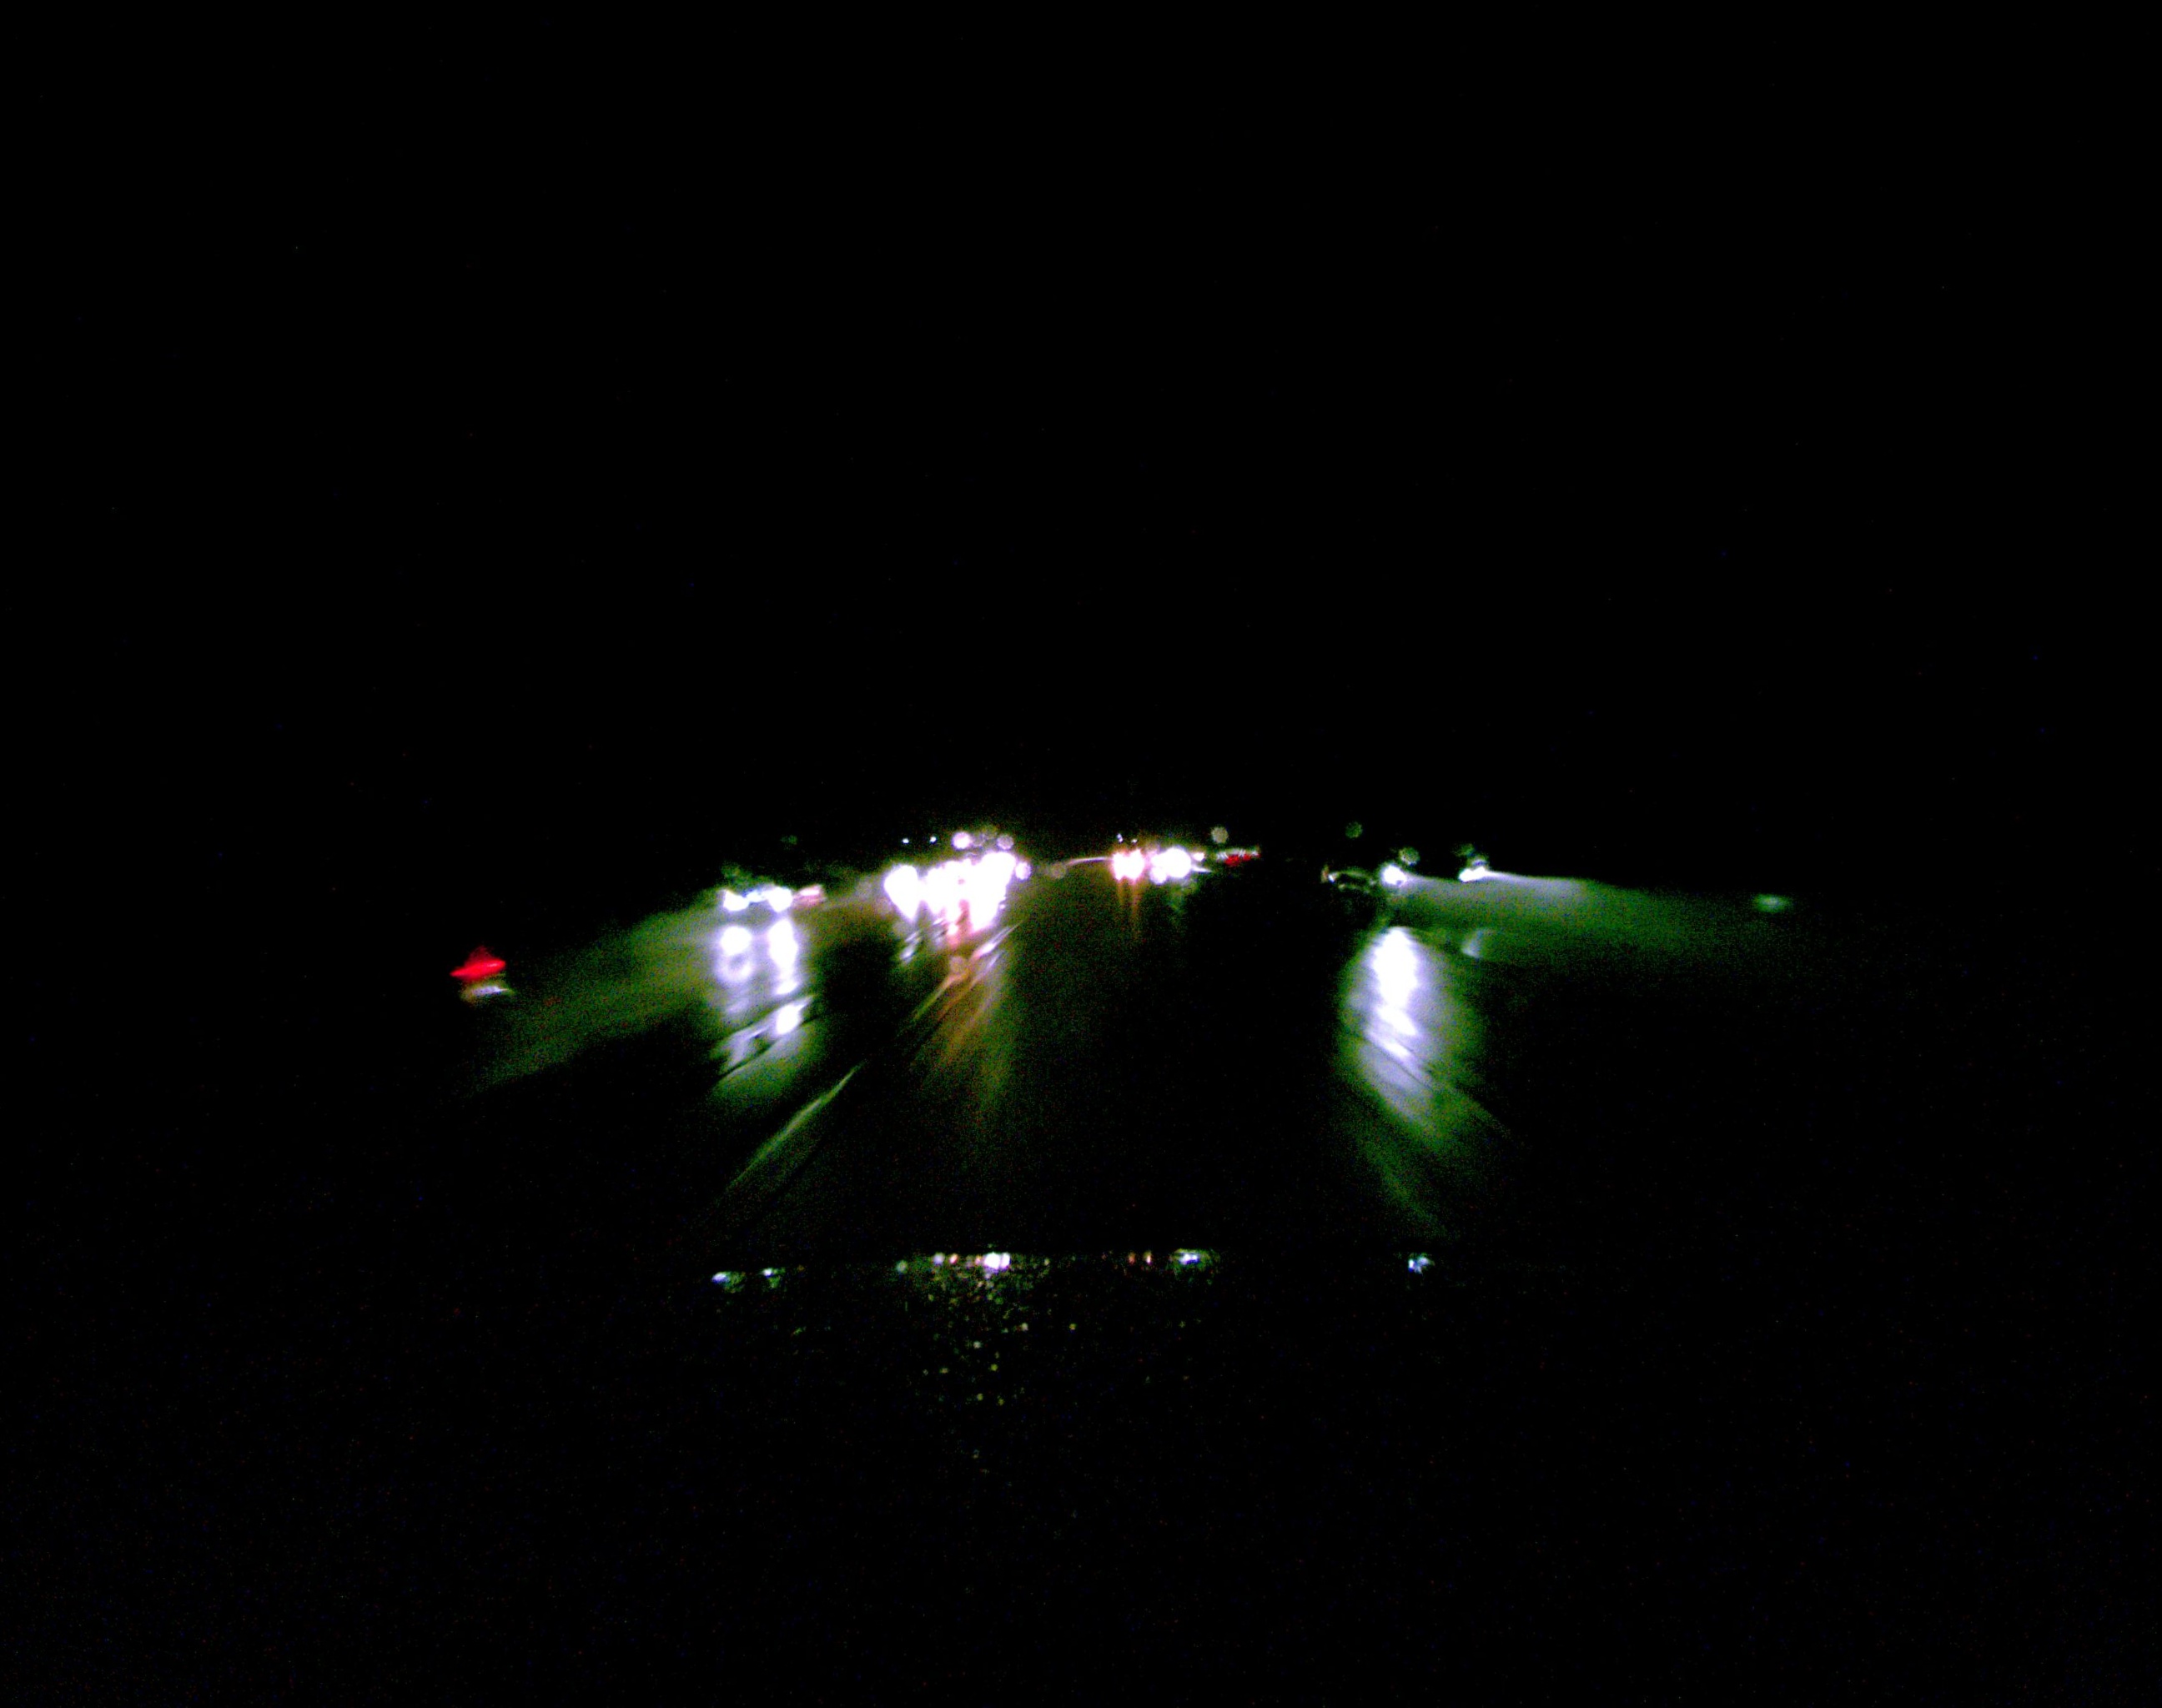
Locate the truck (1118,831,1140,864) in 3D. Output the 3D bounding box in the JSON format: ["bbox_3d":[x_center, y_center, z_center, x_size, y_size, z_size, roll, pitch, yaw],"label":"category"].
[{"bbox_3d":[6.521,-1.031,104.639,2.502,4.224,13.640,2,2,2],"label":"truck"}]

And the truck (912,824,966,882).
[{"bbox_3d":[-11.417,-0.289,62.466,2.766,4.199,13.816,1,2,-4],"label":"truck"}]

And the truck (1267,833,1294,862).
[{"bbox_3d":[29.440,-1.051,112.250,2.543,4.132,5.641,2,2,2],"label":"truck"}]

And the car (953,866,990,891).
[{"bbox_3d":[-5.934,1.295,41.576,1.712,1.286,3.990,1,-1,-5],"label":"car"}]

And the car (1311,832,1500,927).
[{"bbox_3d":[7.516,0.457,18.425,2.142,1.874,5.553,2,2,0],"label":"car"}]

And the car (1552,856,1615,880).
[{"bbox_3d":[31.561,0.876,47.835,1.618,1.292,3.701,2,2,2],"label":"car"}]

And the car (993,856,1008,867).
[{"bbox_3d":[-10.177,0.991,96.278,1.712,1.286,3.990,1,-1,-5],"label":"car"}]

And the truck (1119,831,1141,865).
[{"bbox_3d":[6.318,-0.830,98.405,2.503,4.224,5.981,2,2,2],"label":"truck"}]

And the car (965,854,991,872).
[{"bbox_3d":[-7.881,0.707,58.355,1.712,1.286,3.990,1,-1,-5],"label":"car"}]

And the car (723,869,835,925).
[{"bbox_3d":[-9.521,1.293,24.368,1.793,1.477,4.328,-2,0,0],"label":"car"}]

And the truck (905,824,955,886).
[{"bbox_3d":[-10.900,-0.045,55.339,2.766,4.199,6.190,1,2,-4],"label":"truck"}]

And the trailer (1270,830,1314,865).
[{"bbox_3d":[29.160,-1.035,105.711,2.554,4.518,13.915,2,2,2],"label":"trailer"}]

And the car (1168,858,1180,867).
[{"bbox_3d":[13.795,1.209,112.571,1.710,1.286,3.994,1,-1,7],"label":"car"}]

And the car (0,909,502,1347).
[{"bbox_3d":[-5.014,1.137,3.025,1.998,1.440,4.335,-2,0,1],"label":"car"}]
